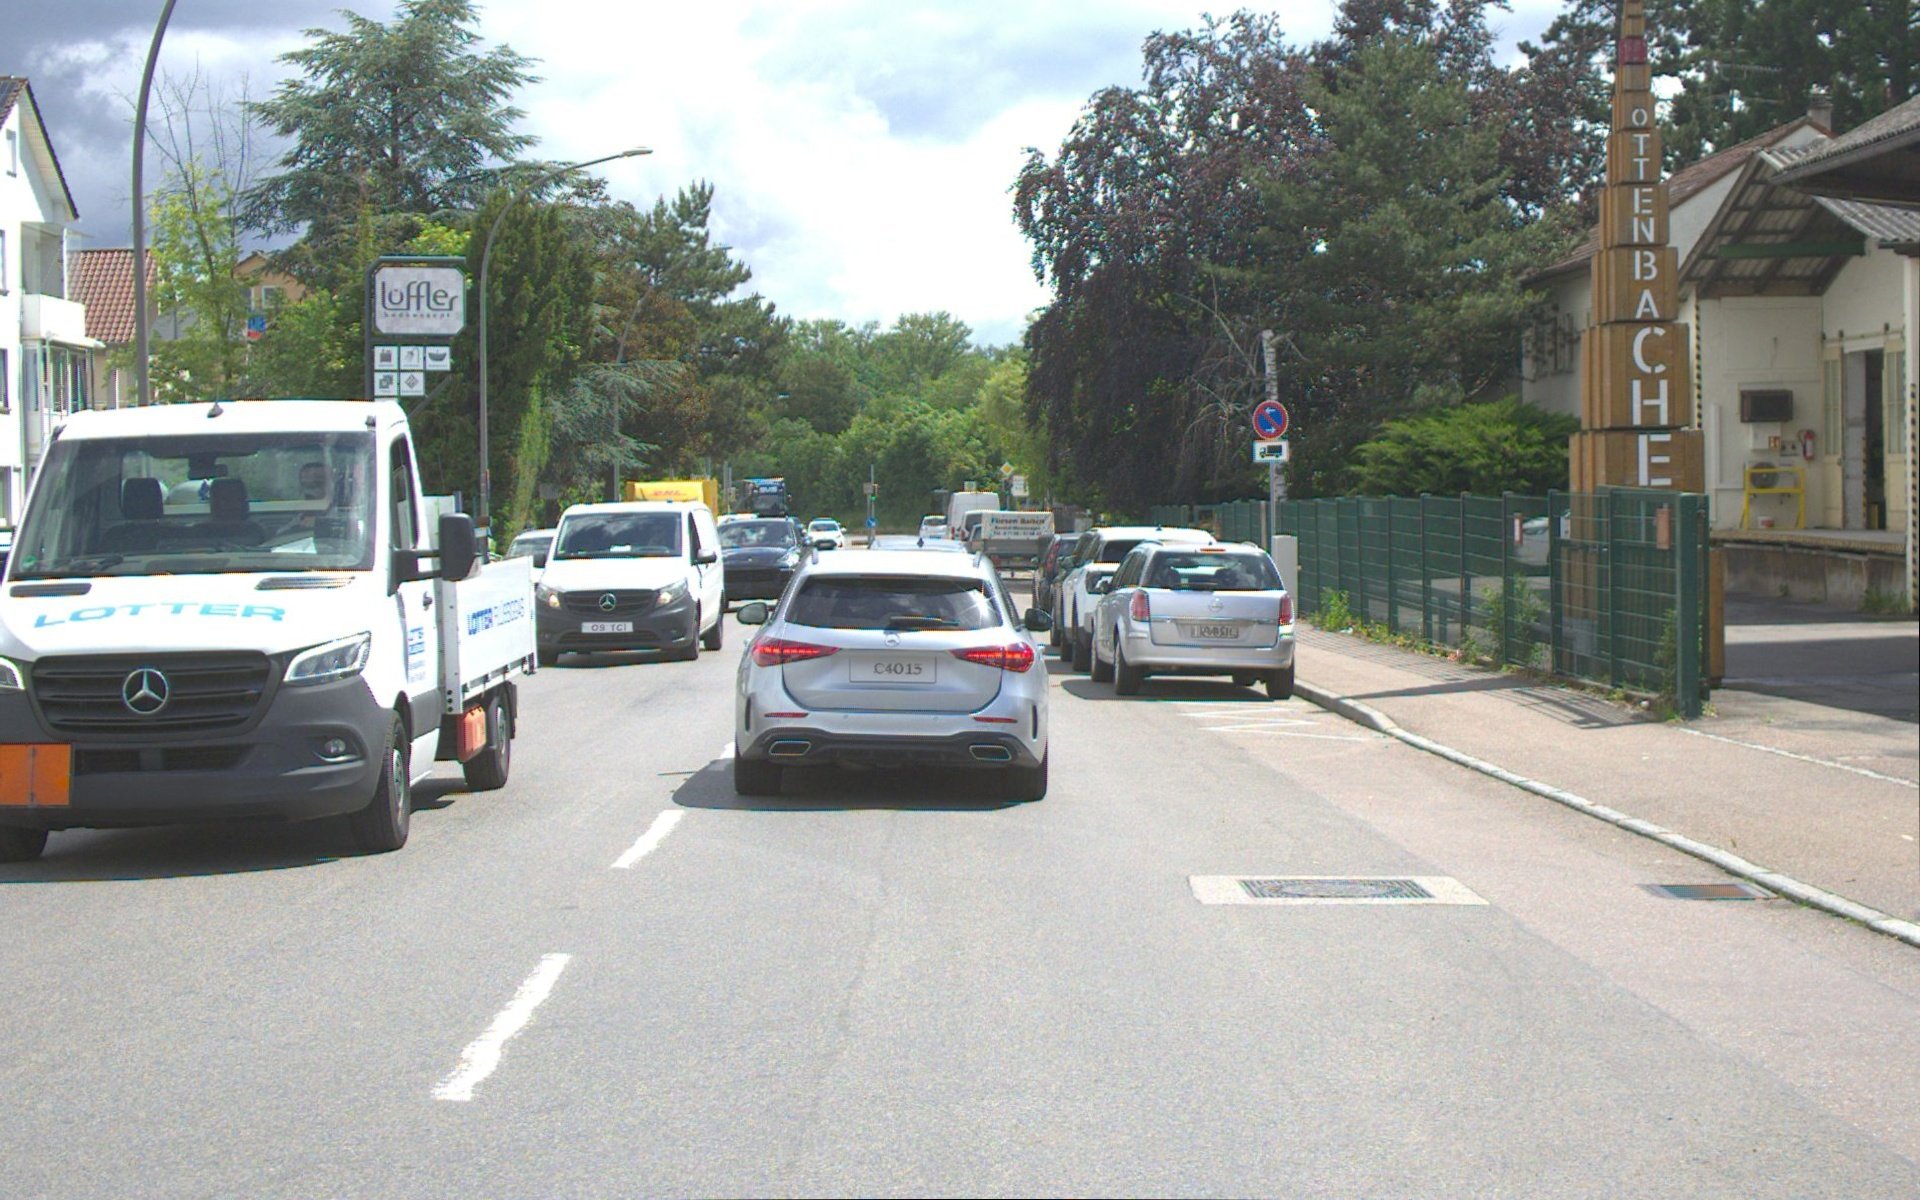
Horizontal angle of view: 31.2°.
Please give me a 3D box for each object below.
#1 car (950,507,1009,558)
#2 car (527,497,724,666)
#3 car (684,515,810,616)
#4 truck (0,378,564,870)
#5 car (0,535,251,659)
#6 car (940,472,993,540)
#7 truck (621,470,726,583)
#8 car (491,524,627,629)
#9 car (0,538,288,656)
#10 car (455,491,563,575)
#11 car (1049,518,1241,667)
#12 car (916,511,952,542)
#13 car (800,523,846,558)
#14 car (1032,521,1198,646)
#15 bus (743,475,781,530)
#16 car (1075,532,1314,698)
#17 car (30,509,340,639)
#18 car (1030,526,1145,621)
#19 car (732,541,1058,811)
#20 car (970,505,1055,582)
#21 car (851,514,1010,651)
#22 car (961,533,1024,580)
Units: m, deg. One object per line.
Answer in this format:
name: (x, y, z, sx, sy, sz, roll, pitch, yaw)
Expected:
car: (0.656, -2.313, 118.051, 1.784, 1.709, 4.317, 0, 1, -3)
car: (-3.983, -0.289, 41.693, 1.993, 1.882, 5.117, -1, 2, -2)
car: (-3.928, -0.677, 64.053, 1.993, 1.727, 4.549, -2, 2, 1)
truck: (-3.769, 0.028, 18.696, 2.319, 2.171, 6.449, -2, 2, 1)
car: (-12.028, -0.020, 46.907, 4.279, 1.561, 1.991, -1, -2, 0)
car: (0.239, -3.536, 130.272, 1.784, 2.510, 4.317, 0, 1, -3)
truck: (-7.535, -1.977, 91.022, 2.075, 2.804, 7.078, -2, 2, 0)
car: (-6.677, -0.426, 57.609, 1.791, 1.598, 4.364, -2, 2, -1)
car: (-11.989, -0.032, 49.482, 4.279, 1.561, 1.991, -1, -2, -2)
car: (-9.295, -1.409, 71.112, 1.993, 1.651, 4.001, -1, 2, -5)
car: (2.065, -0.136, 39.578, 1.791, 1.546, 4.574, -2, 2, -2)
car: (-1.334, -3.730, 174.227, 1.755, 1.552, 4.001, 0, 2, -2)
car: (-6.216, -2.706, 156.402, 1.934, 1.487, 4.364, -2, 2, -1)
car: (2.018, -0.255, 45.681, 1.689, 1.546, 4.087, -1, 1, -4)
bus: (-12.539, -6.183, 217.225, 1.993, 3.352, 6.984, 1, 2, -6)
car: (2.244, 0.090, 33.955, 1.791, 1.445, 4.364, -2, 2, -3)
car: (-11.720, -0.372, 52.197, 4.279, 1.830, 1.991, -1, -2, -2)
car: (2.049, -0.457, 56.213, 1.689, 1.445, 3.849, -1, 1, 0)
car: (-0.457, 0.388, 21.092, 1.784, 1.479, 4.317, 0, 1, -3)
car: (1.387, -1.540, 92.771, 2.144, 1.977, 5.261, -1, 1, 0)
car: (-0.401, -0.251, 41.696, 1.755, 1.552, 4.001, 0, 2, -3)
car: (1.050, -1.440, 113.040, 1.784, 1.479, 4.317, 0, 1, -3)
